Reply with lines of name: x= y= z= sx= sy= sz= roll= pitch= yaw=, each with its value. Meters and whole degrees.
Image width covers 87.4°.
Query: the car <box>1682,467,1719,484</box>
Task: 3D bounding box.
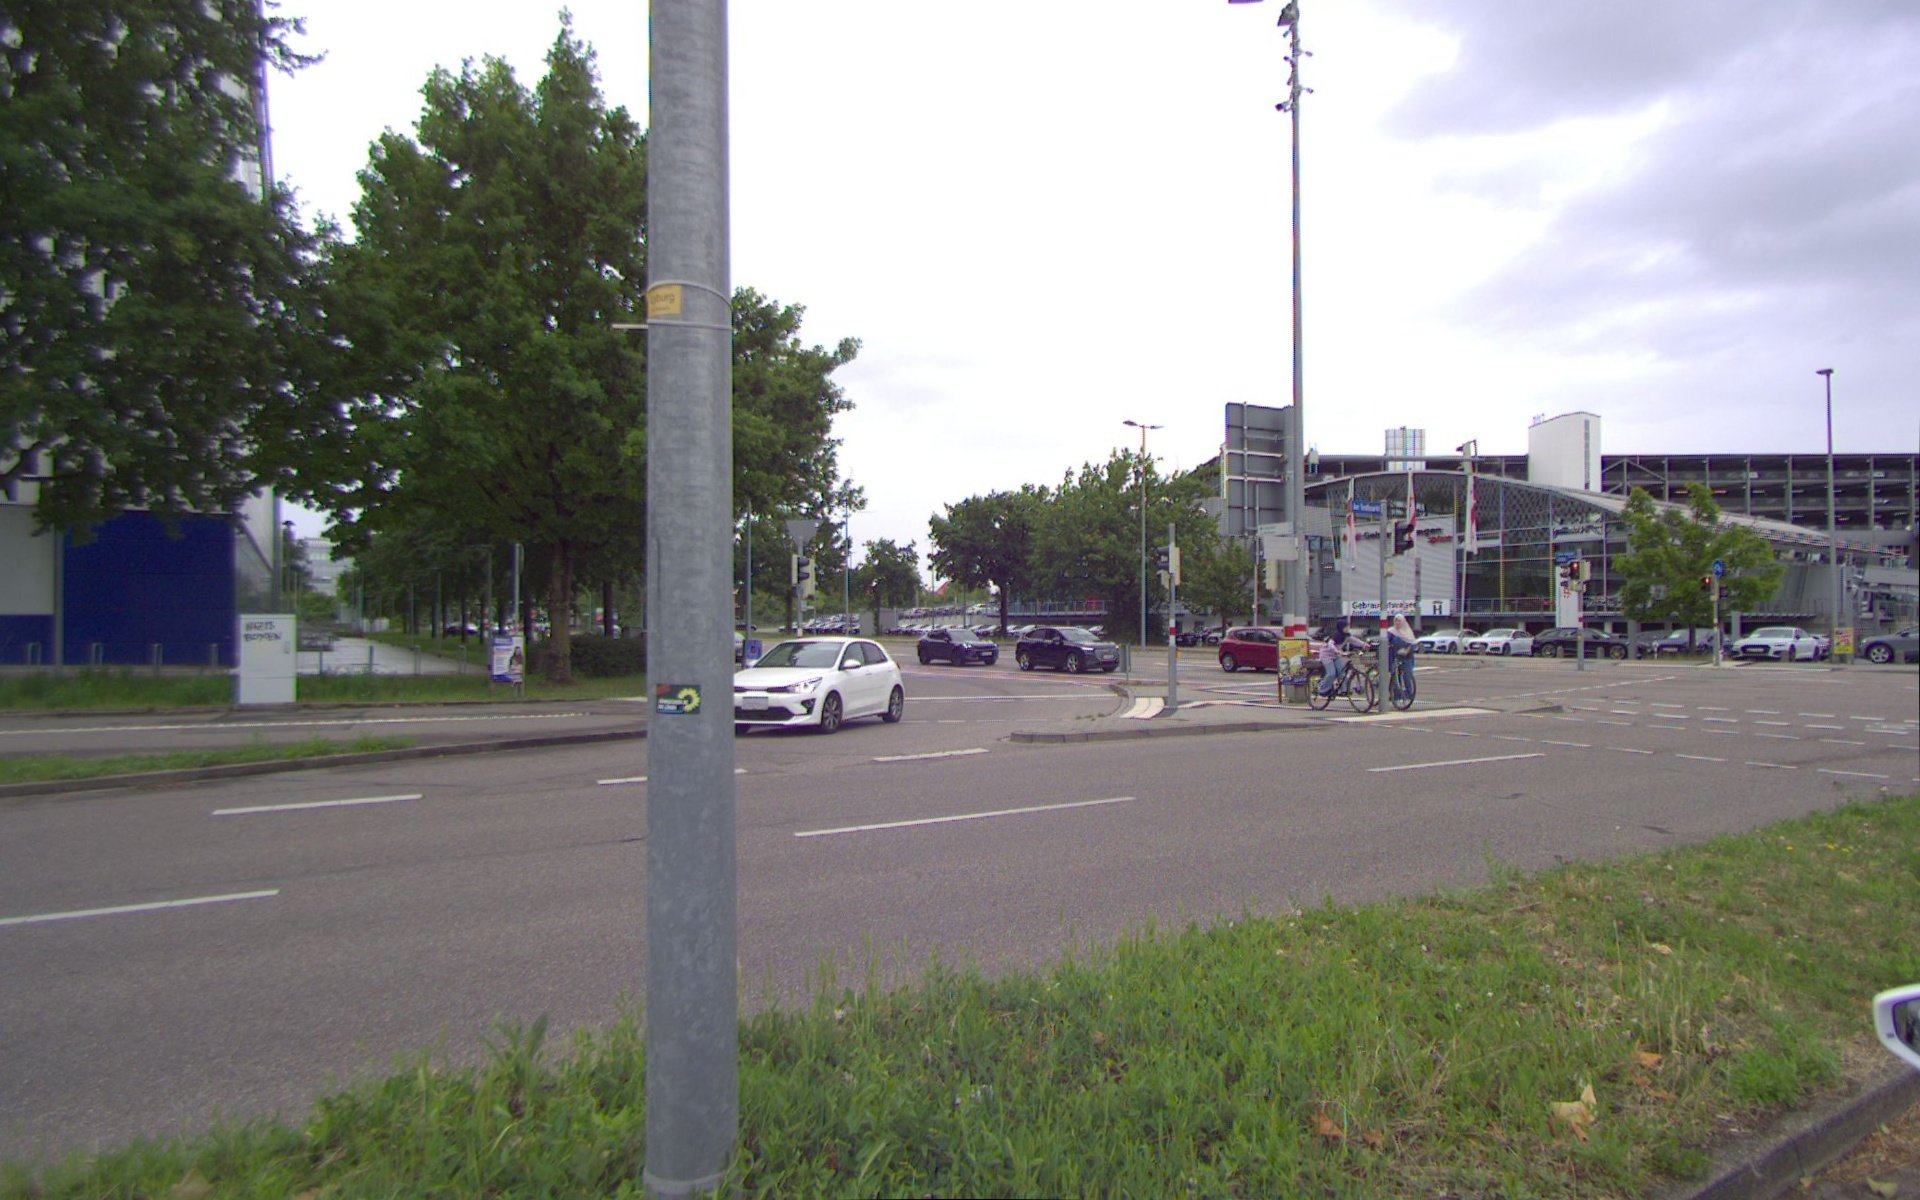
car: x=96.322 y=-16.144 z=130.679 sx=1.960 sy=1.689 sz=4.001 roll=1 pitch=0 yaw=2

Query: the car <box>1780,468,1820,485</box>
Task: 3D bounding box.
car: x=108.901 y=-16.044 z=130.297 sx=1.960 sy=1.689 sz=4.001 roll=1 pitch=0 yaw=2

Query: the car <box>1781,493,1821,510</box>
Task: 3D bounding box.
car: x=108.932 y=-12.732 z=130.163 sx=1.960 sy=1.689 sz=4.001 roll=1 pitch=0 yaw=2

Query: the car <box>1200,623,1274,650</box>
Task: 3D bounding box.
car: x=17.152 y=2.271 z=62.065 sx=4.617 sy=1.491 sz=1.830 roll=4 pitch=-2 yaw=-34

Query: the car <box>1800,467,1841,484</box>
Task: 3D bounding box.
car: x=111.536 y=-16.152 z=130.231 sx=1.960 sy=1.689 sz=4.001 roll=1 pitch=0 yaw=2

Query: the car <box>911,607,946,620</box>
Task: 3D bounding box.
car: x=-3.927 y=1.706 z=124.563 sx=4.058 sy=1.516 sz=1.713 roll=2 pitch=0 yaw=-35

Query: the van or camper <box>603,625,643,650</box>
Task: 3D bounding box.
van or camper: x=-25.488 y=2.872 z=75.882 sx=1.977 sy=1.744 sz=4.359 roll=0 pitch=-3 yaw=-31

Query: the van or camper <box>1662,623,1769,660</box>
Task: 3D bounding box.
van or camper: x=38.897 y=2.118 z=51.779 sx=1.979 sy=1.700 sz=3.963 roll=2 pitch=0 yaw=-33

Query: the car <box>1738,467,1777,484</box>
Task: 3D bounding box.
car: x=103.565 y=-16.182 z=130.458 sx=1.960 sy=1.689 sz=4.001 roll=1 pitch=0 yaw=2

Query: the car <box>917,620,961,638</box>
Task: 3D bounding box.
car: x=-1.897 y=2.645 z=91.092 sx=3.639 sy=1.506 sz=1.696 roll=2 pitch=0 yaw=-34

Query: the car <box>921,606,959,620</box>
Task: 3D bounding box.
car: x=-2.430 y=1.613 z=122.424 sx=4.306 sy=1.516 sz=1.863 roll=2 pitch=0 yaw=-35

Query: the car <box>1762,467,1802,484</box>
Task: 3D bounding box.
car: x=106.629 y=-16.113 z=130.305 sx=1.960 sy=1.689 sz=4.001 roll=1 pitch=0 yaw=2

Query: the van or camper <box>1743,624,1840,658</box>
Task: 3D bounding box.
van or camper: x=47.805 y=2.352 z=57.816 sx=1.828 sy=1.734 sz=3.963 roll=2 pitch=0 yaw=-33

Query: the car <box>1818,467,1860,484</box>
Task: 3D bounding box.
car: x=113.710 y=-16.079 z=130.017 sx=1.960 sy=1.689 sz=4.001 roll=1 pitch=0 yaw=2

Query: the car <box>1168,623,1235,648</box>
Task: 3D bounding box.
car: x=15.454 y=2.291 z=64.304 sx=4.175 sy=1.439 sz=1.838 roll=4 pitch=-3 yaw=-34

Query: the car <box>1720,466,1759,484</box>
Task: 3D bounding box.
car: x=101.356 y=-16.248 z=130.644 sx=1.960 sy=1.689 sz=4.001 roll=1 pitch=0 yaw=2

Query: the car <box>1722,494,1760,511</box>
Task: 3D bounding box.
car: x=101.479 y=-12.634 z=130.508 sx=1.960 sy=1.689 sz=4.001 roll=1 pitch=0 yaw=2

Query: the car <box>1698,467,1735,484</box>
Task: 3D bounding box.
car: x=98.540 y=-16.229 z=130.852 sx=1.960 sy=1.689 sz=4.001 roll=1 pitch=0 yaw=2

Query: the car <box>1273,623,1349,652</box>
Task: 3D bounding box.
car: x=20.105 y=2.154 z=57.536 sx=4.335 sy=1.489 sz=1.877 roll=4 pitch=-3 yaw=-34

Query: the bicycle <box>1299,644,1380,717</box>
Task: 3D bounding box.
bicycle: x=6.527 y=1.360 z=17.375 sx=0.498 sy=1.181 sz=1.946 roll=2 pitch=-3 yaw=-5

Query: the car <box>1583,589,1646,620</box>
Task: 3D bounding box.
car: x=39.400 y=0.280 z=60.431 sx=3.960 sy=1.684 sz=1.807 roll=2 pitch=0 yaw=-35

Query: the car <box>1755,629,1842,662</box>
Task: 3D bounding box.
car: x=53.390 y=2.874 z=64.022 sx=1.742 sy=1.862 sz=3.960 roll=2 pitch=0 yaw=-35

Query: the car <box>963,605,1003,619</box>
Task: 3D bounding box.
car: x=2.661 y=1.362 z=116.205 sx=4.306 sy=1.516 sz=1.863 roll=2 pitch=0 yaw=-35

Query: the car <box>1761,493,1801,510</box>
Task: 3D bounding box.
car: x=106.473 y=-12.740 z=130.274 sx=1.960 sy=1.689 sz=4.001 roll=1 pitch=0 yaw=2

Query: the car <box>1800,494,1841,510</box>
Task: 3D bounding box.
car: x=111.434 y=-12.713 z=130.116 sx=1.960 sy=1.689 sz=4.001 roll=1 pitch=0 yaw=2

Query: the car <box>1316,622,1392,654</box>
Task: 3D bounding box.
car: x=21.624 y=2.094 z=55.121 sx=4.148 sy=1.505 sz=1.891 roll=4 pitch=-3 yaw=-34

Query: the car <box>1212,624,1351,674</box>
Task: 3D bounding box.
car: x=10.232 y=1.571 z=32.251 sx=1.724 sy=1.507 sz=4.039 roll=2 pitch=-3 yaw=-35

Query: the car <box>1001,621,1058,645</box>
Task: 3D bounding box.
car: x=5.579 y=2.639 z=80.742 sx=4.168 sy=1.505 sz=1.940 roll=7 pitch=-3 yaw=-34

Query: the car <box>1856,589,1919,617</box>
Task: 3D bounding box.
car: x=65.002 y=0.227 z=69.604 sx=1.740 sy=1.862 sz=3.965 roll=2 pitch=0 yaw=-32

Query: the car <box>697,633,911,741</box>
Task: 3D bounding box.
car: x=-2.301 y=1.274 z=15.891 sx=1.752 sy=1.471 sz=3.934 roll=-1 pitch=-2 yaw=18

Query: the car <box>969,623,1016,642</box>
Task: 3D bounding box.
car: x=2.718 y=2.750 z=84.425 sx=3.639 sy=1.506 sz=1.696 roll=2 pitch=0 yaw=-34

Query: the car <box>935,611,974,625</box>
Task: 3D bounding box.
car: x=-0.619 y=2.138 z=120.560 sx=4.306 sy=1.516 sz=1.951 roll=2 pitch=0 yaw=-35

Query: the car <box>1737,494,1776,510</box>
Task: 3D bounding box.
car: x=103.686 y=-12.703 z=130.765 sx=1.960 sy=1.689 sz=4.001 roll=1 pitch=0 yaw=2

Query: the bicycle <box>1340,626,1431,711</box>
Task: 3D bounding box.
bicycle: x=7.552 y=1.215 z=17.932 sx=0.586 sy=1.414 sz=1.933 roll=-1 pitch=-4 yaw=-6

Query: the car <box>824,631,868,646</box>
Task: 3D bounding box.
car: x=-12.529 y=4.214 z=110.565 sx=4.413 sy=1.592 sz=1.981 roll=0 pitch=-1 yaw=-34

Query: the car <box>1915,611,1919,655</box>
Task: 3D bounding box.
car: x=46.305 y=1.446 z=45.035 sx=1.981 sy=2.040 sz=4.742 roll=2 pitch=-4 yaw=-35

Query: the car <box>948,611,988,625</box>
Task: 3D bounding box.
car: x=0.913 y=2.182 z=118.609 sx=4.306 sy=1.516 sz=2.049 roll=2 pitch=0 yaw=-35
